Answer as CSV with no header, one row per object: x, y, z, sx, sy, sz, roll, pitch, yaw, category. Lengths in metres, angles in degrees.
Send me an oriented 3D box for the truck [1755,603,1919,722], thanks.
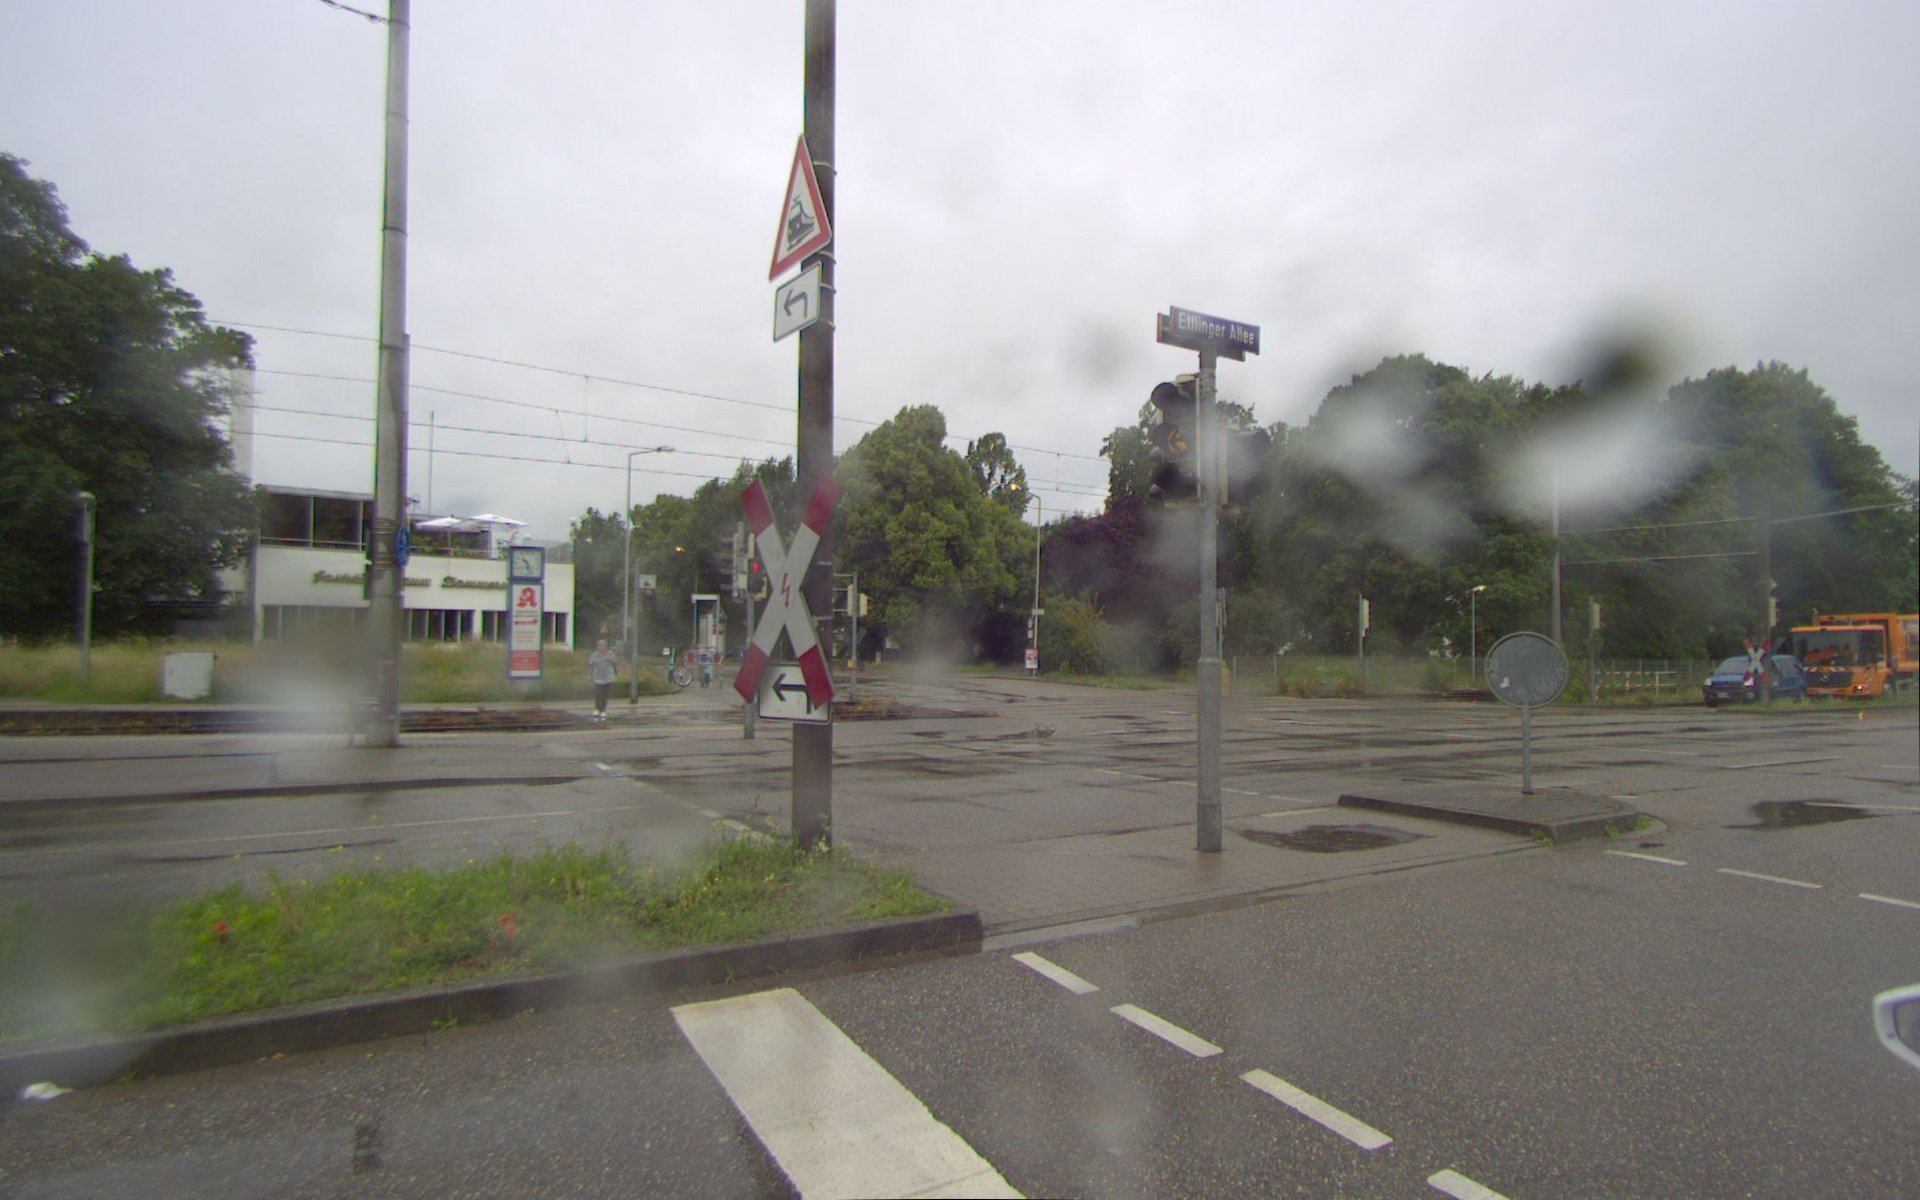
35.762,2.438,39.648,10.287,4.222,3.368,3,-1,-31,truck

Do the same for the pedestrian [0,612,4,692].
-21.912,1.178,22.396,0.673,1.816,0.626,3,-1,-31,pedestrian

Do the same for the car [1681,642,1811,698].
27.025,2.404,34.513,4.473,1.732,1.985,3,-1,-29,car

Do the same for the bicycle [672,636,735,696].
-7.745,1.986,30.372,1.713,1.784,0.637,2,-3,-29,bicycle

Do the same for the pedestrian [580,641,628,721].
-7.716,1.739,21.746,0.774,1.679,0.797,3,-1,-32,pedestrian
